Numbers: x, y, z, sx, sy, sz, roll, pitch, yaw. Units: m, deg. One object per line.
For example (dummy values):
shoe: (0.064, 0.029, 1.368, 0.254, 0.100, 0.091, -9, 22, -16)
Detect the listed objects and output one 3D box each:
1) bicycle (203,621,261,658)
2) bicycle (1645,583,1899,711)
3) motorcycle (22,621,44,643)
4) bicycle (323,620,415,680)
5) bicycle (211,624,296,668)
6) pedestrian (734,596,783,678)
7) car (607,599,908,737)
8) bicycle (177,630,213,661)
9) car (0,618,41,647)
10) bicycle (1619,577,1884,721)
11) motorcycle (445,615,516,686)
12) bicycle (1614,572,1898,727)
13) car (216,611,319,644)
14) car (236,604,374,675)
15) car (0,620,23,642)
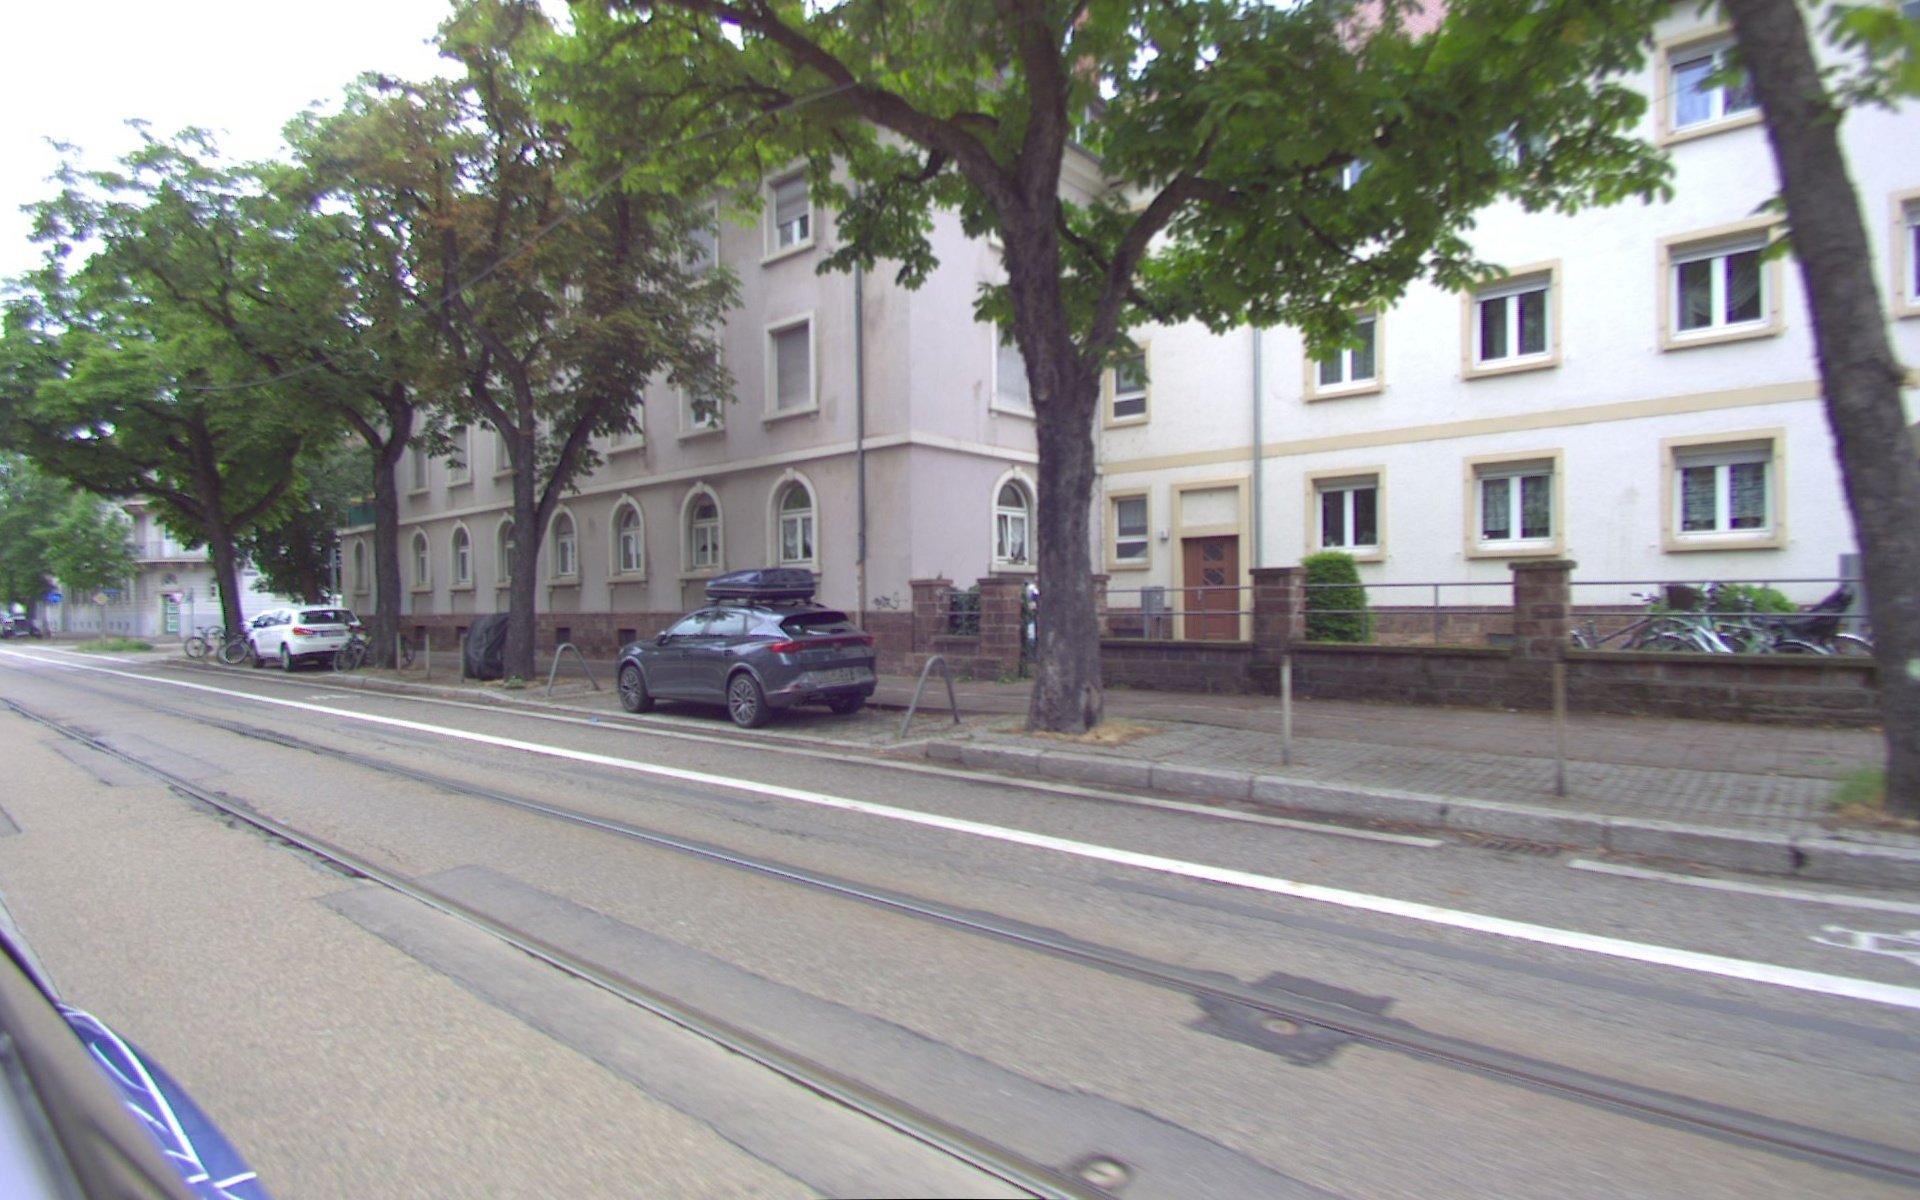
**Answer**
bicycle: (-23.363, 1.269, 32.476, 1.925, 1.144, 0.671, -3, -1, 25)
bicycle: (9.023, 0.499, 11.352, 2.139, 1.308, 0.740, -1, -1, 40)
motorcycle: (-55.275, 1.896, 60.320, 2.137, 1.267, 0.535, -1, 0, 35)
bicycle: (-13.489, 1.132, 23.109, 1.720, 1.201, 0.654, -3, -4, -34)
bicycle: (-20.368, 1.306, 29.213, 0.623, 1.129, 1.902, -1, 1, 41)
pedestrian: (-3.726, 0.677, 18.724, 0.722, 1.478, 0.558, -2, -1, 42)
car: (-2.824, 0.803, 13.530, 4.237, 1.522, 1.758, -1, 0, 42)
bicycle: (-24.171, 1.432, 31.958, 1.394, 0.965, 0.479, -1, -1, 34)
car: (-60.617, 2.071, 65.044, 4.292, 1.673, 1.818, -2, 2, 42)
bicycle: (8.313, 0.488, 10.726, 2.140, 1.392, 0.621, -1, -1, 42)
motorcycle: (-9.566, 0.966, 20.138, 0.852, 1.298, 2.327, -2, 0, -35)
bicycle: (7.871, 0.463, 10.107, 2.140, 1.392, 0.784, -1, -1, 42)
car: (-38.498, 1.520, 56.360, 4.438, 1.675, 1.945, -1, 0, -24)
car: (-17.141, 0.990, 26.421, 4.222, 1.668, 1.878, -1, 0, 40)
car: (-66.738, 2.166, 70.375, 4.611, 1.477, 1.793, -2, 0, 41)
